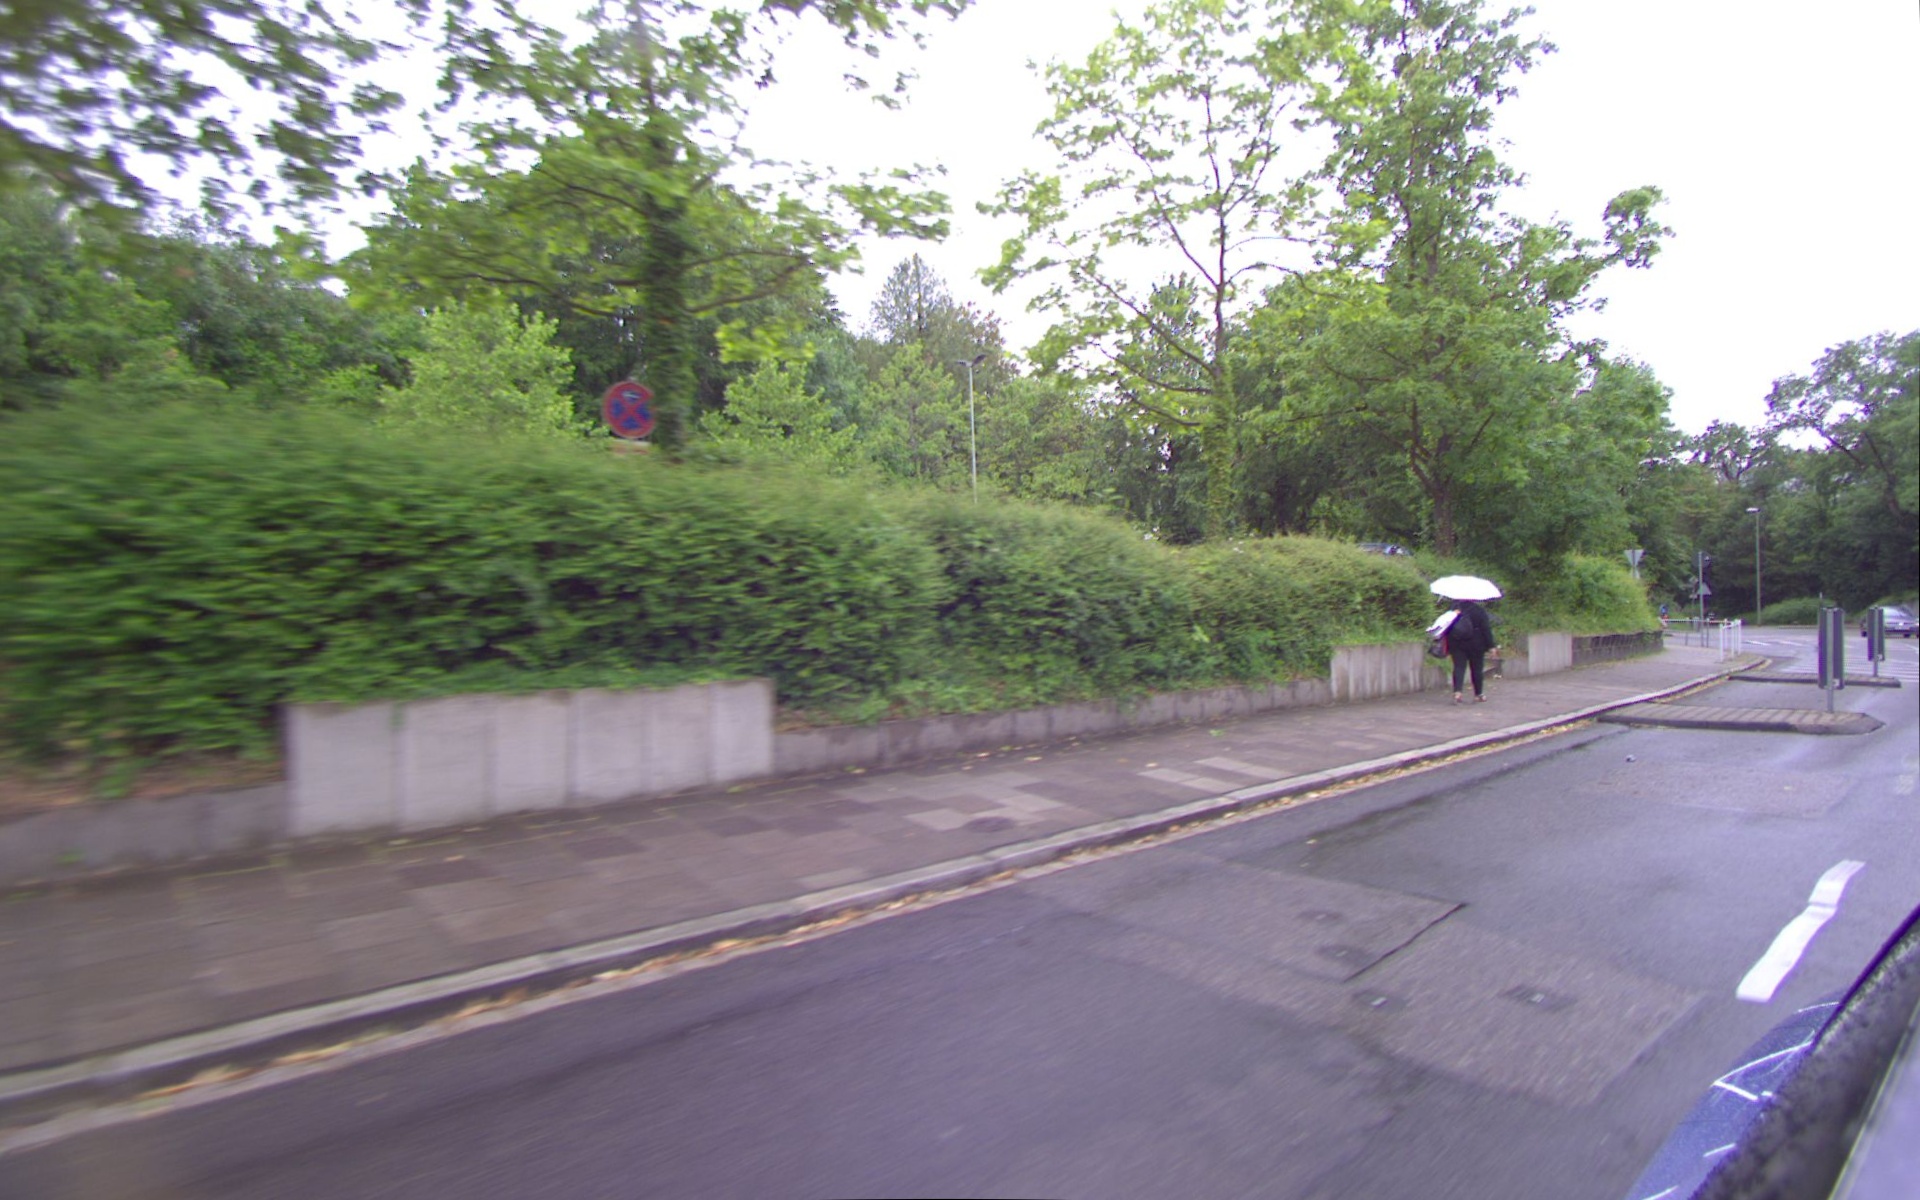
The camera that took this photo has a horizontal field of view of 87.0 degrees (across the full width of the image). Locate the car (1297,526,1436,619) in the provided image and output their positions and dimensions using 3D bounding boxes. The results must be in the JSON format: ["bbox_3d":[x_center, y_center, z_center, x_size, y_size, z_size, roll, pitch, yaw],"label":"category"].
[{"bbox_3d":[9.719,-0.600,24.123,3.356,2.039,1.687,0,-2,-41],"label":"car"}]

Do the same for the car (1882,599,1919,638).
[{"bbox_3d":[42.975,0.815,45.614,2.029,1.723,3.939,-2,-1,42],"label":"car"}]

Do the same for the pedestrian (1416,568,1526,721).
[{"bbox_3d":[6.867,0.551,13.591,1.050,1.917,1.116,-1,2,42],"label":"pedestrian"}]

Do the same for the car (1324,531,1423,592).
[{"bbox_3d":[9.975,-0.886,24.342,1.305,1.326,2.834,-2,-1,42],"label":"car"}]
